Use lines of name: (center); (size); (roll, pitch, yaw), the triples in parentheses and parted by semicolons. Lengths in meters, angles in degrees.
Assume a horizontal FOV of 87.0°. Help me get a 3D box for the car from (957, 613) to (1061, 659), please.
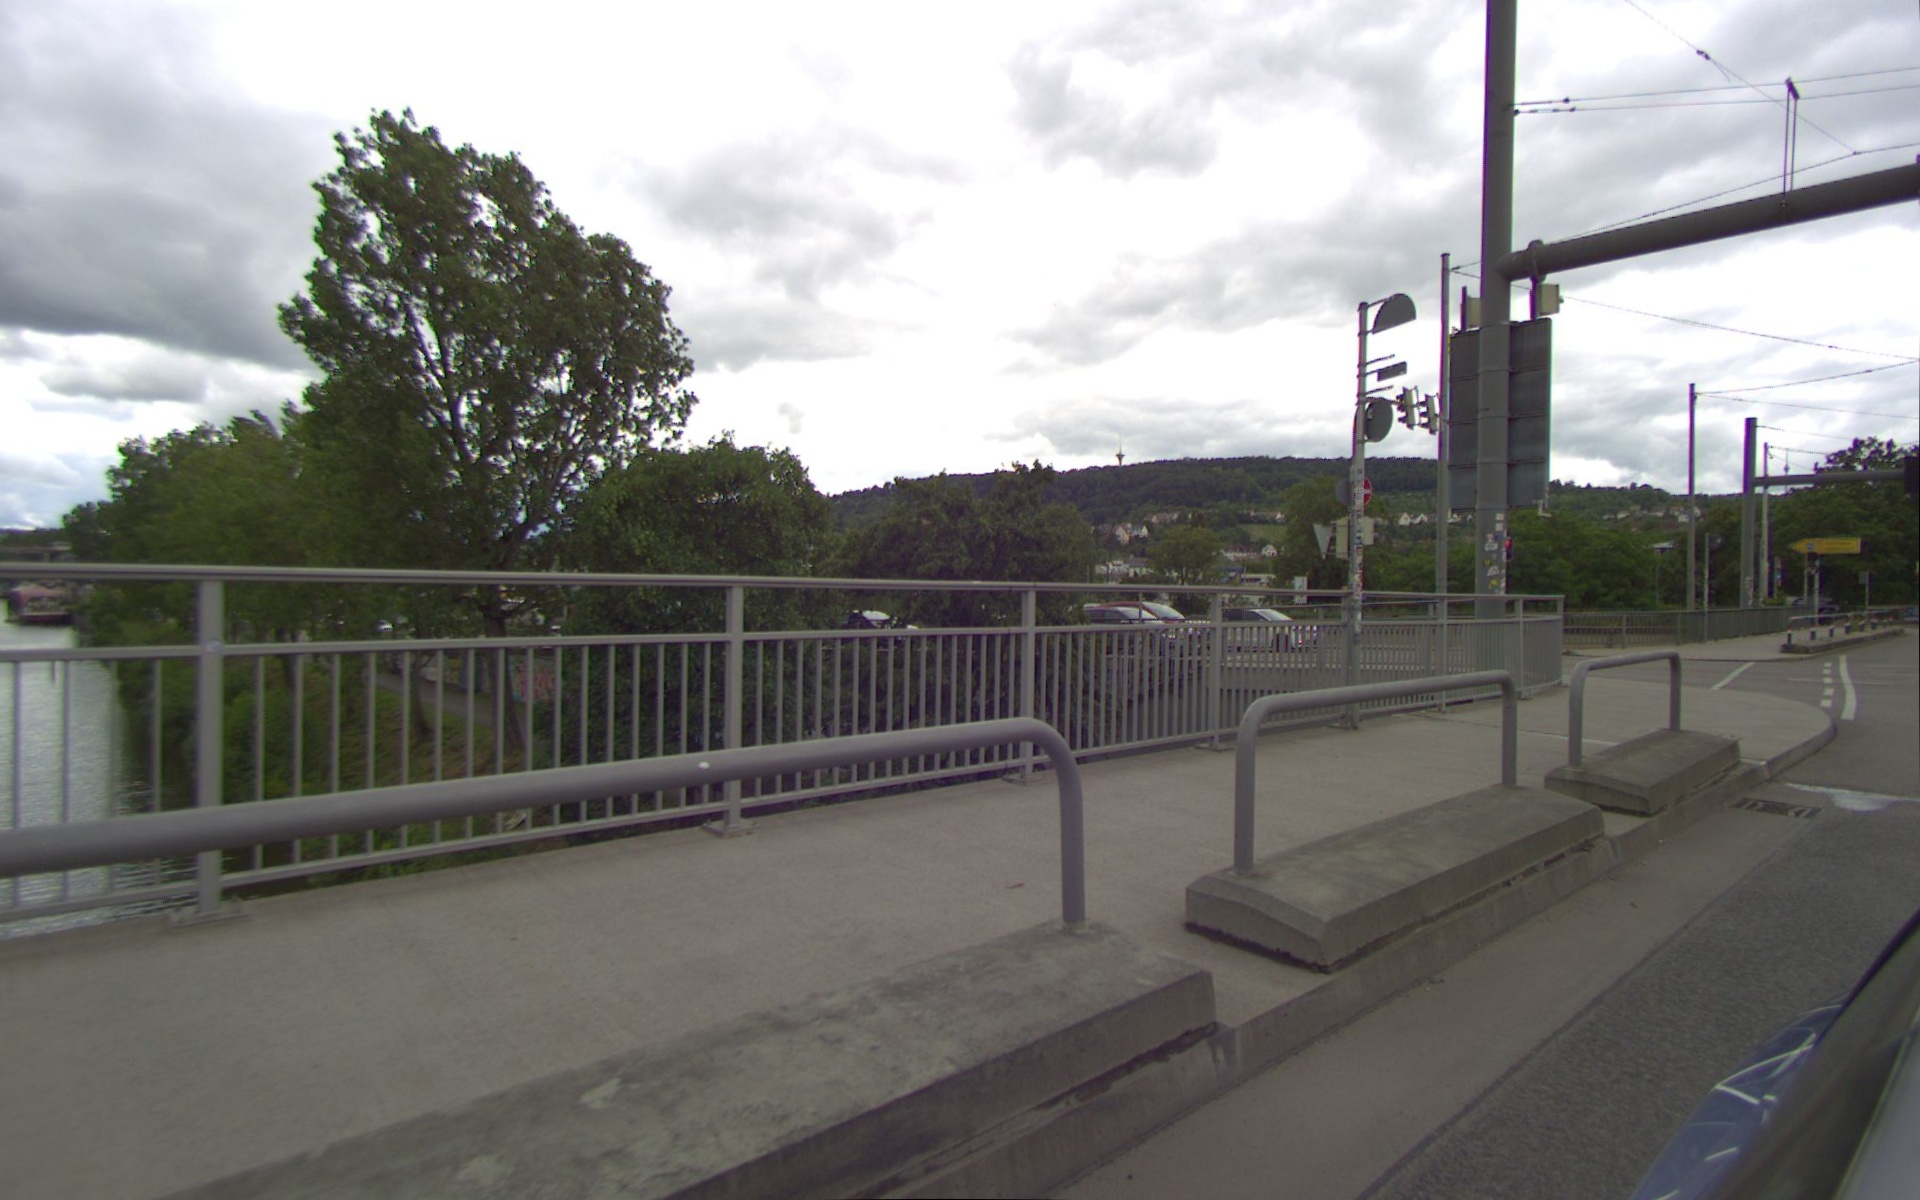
car: (1.739, 1.264, 36.621); (1.667, 1.559, 3.615); (-1, 0, -43)

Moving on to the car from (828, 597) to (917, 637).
car: (-3.635, 0.682, 41.592); (1.667, 1.559, 3.751); (-1, 0, -43)

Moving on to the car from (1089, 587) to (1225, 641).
car: (6.163, 0.422, 31.953); (1.668, 1.559, 3.999); (-2, 1, -43)

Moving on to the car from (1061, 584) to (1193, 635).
car: (5.875, 0.326, 35.951); (1.966, 1.639, 4.334); (-2, 1, -42)

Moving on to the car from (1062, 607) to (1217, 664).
car: (5.027, 0.955, 28.768); (1.668, 1.438, 4.142); (-2, 1, -44)

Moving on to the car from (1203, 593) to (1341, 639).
car: (9.776, 0.486, 31.872); (1.761, 1.329, 3.756); (-2, 1, -43)

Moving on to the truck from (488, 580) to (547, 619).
truck: (-62.944, -0.185, 143.652); (3.528, 4.540, 13.160); (0, 4, -42)
